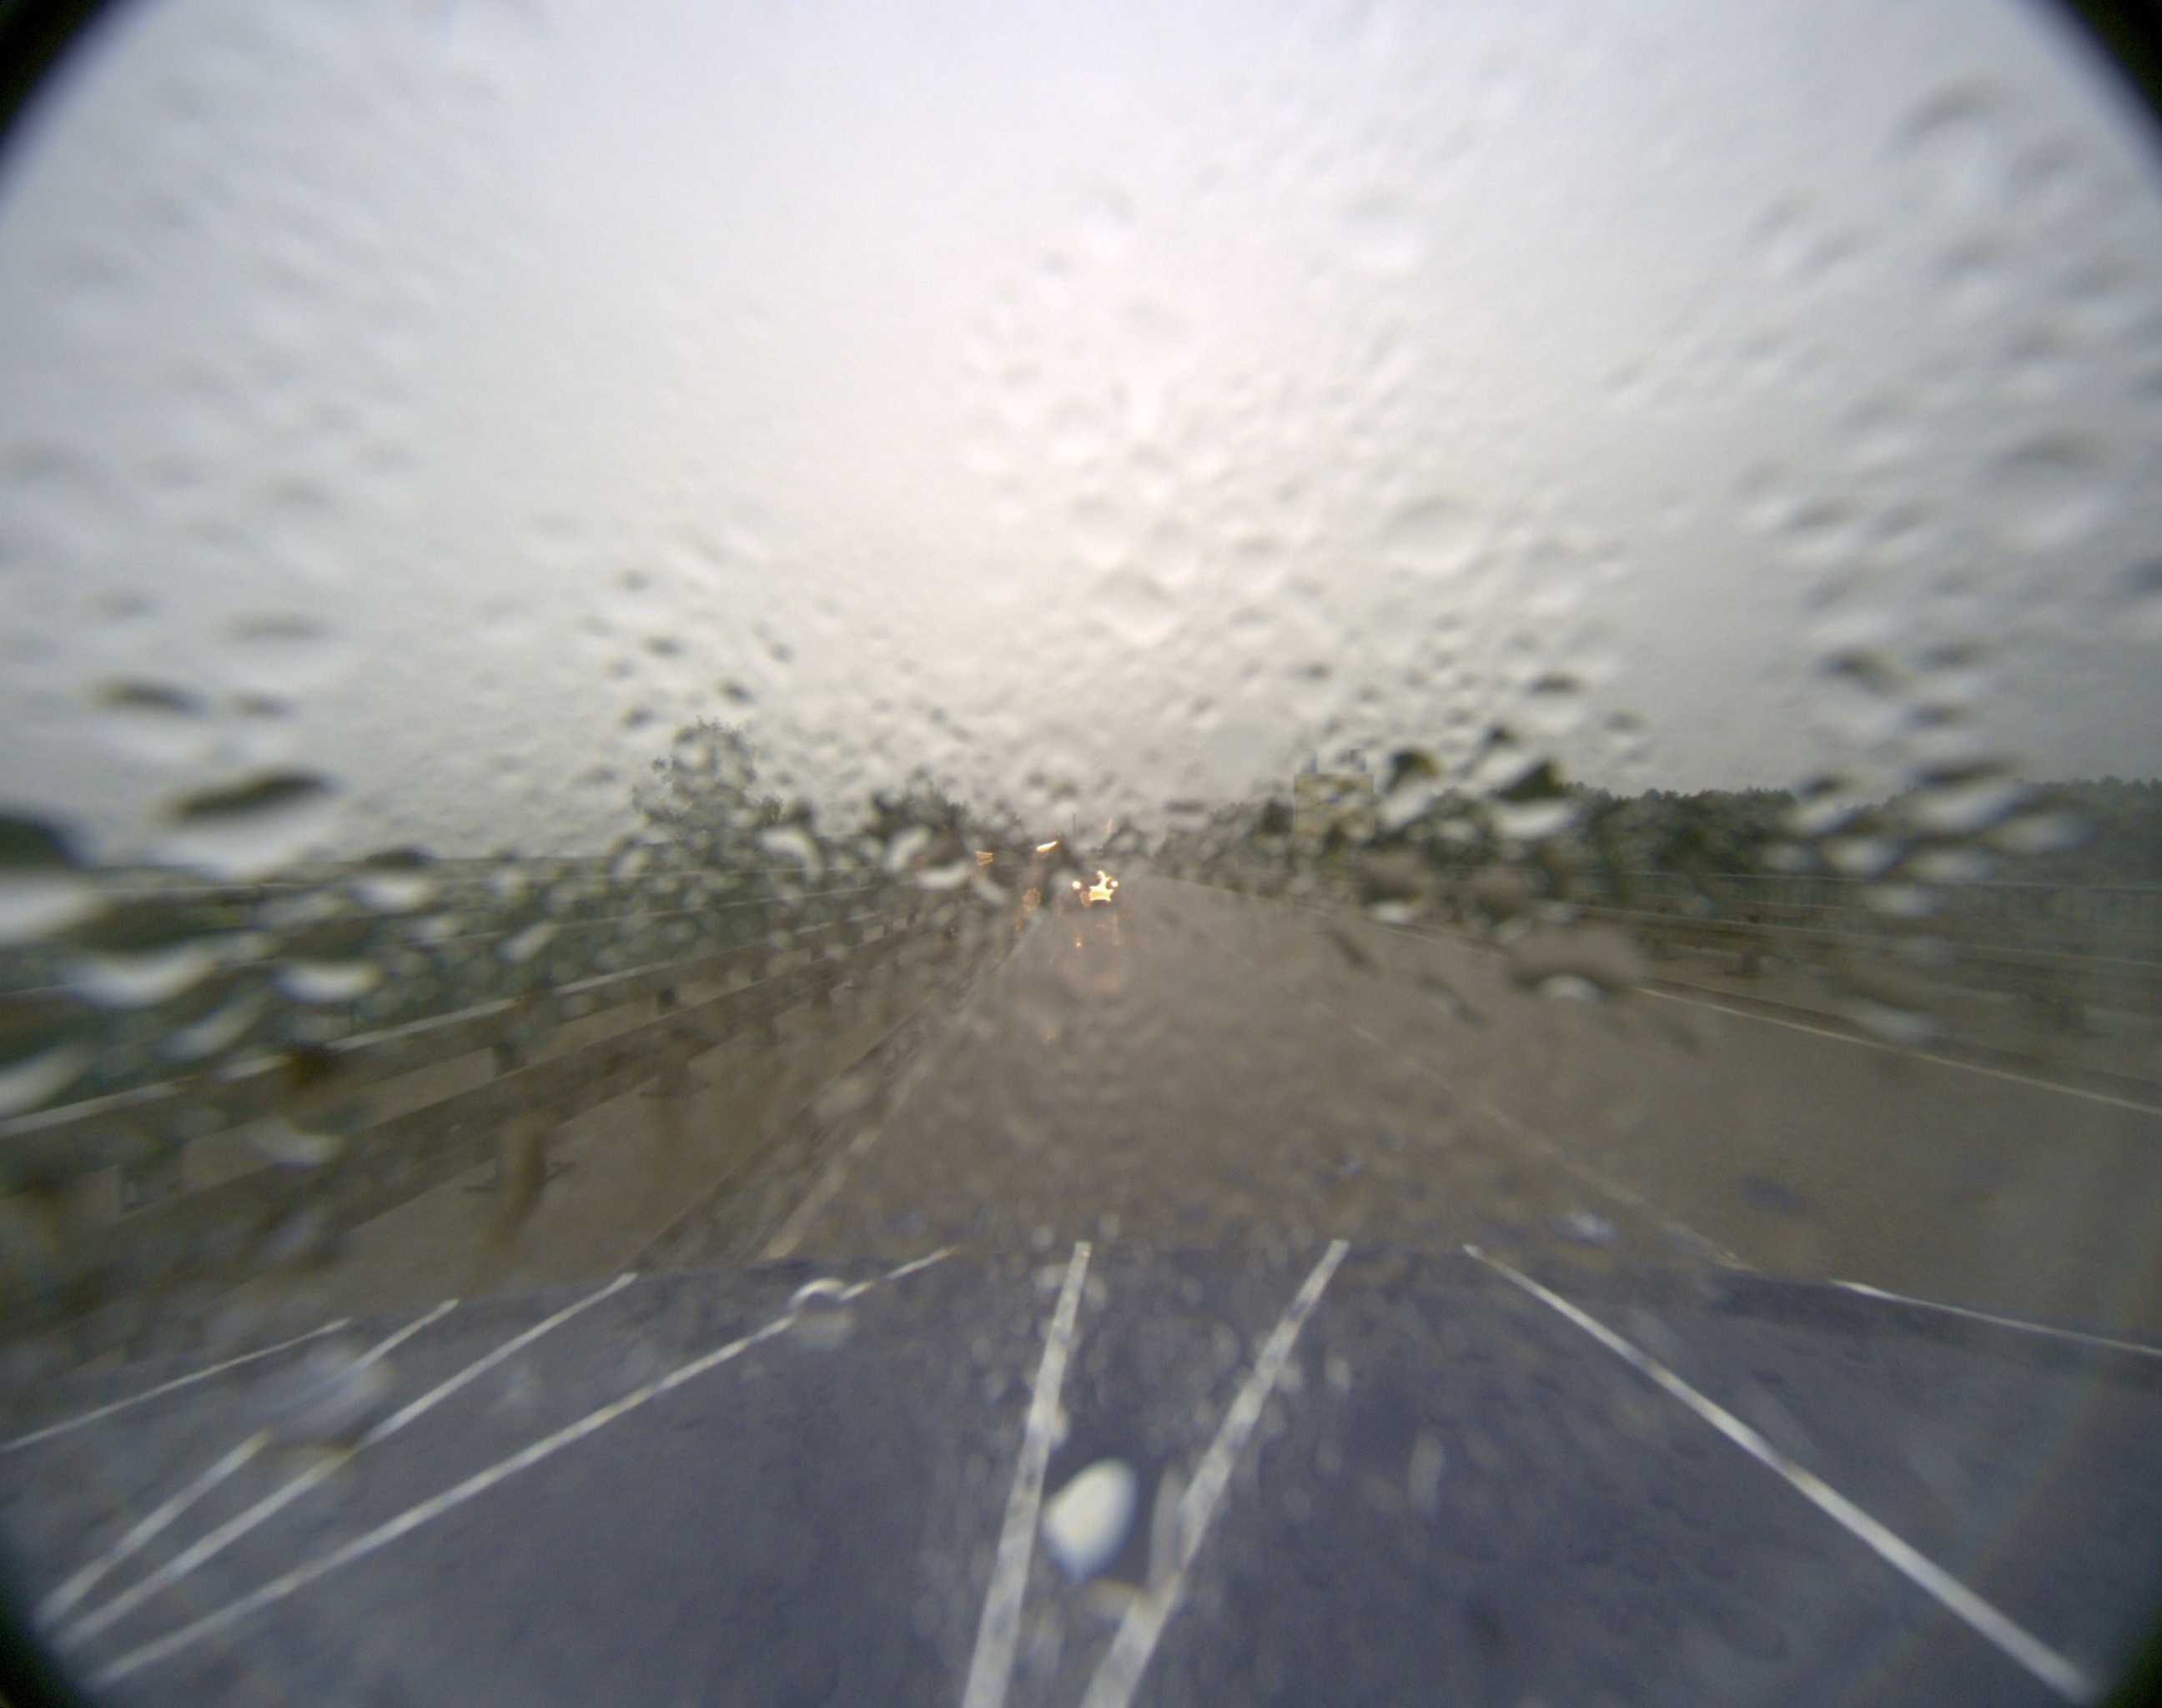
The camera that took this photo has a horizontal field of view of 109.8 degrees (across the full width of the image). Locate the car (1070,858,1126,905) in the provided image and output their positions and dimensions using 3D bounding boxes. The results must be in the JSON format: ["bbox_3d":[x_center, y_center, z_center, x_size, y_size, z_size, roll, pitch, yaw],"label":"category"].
[{"bbox_3d":[0.597,0.931,27.442,1.819,1.382,4.068,-3,1,1],"label":"car"}]
